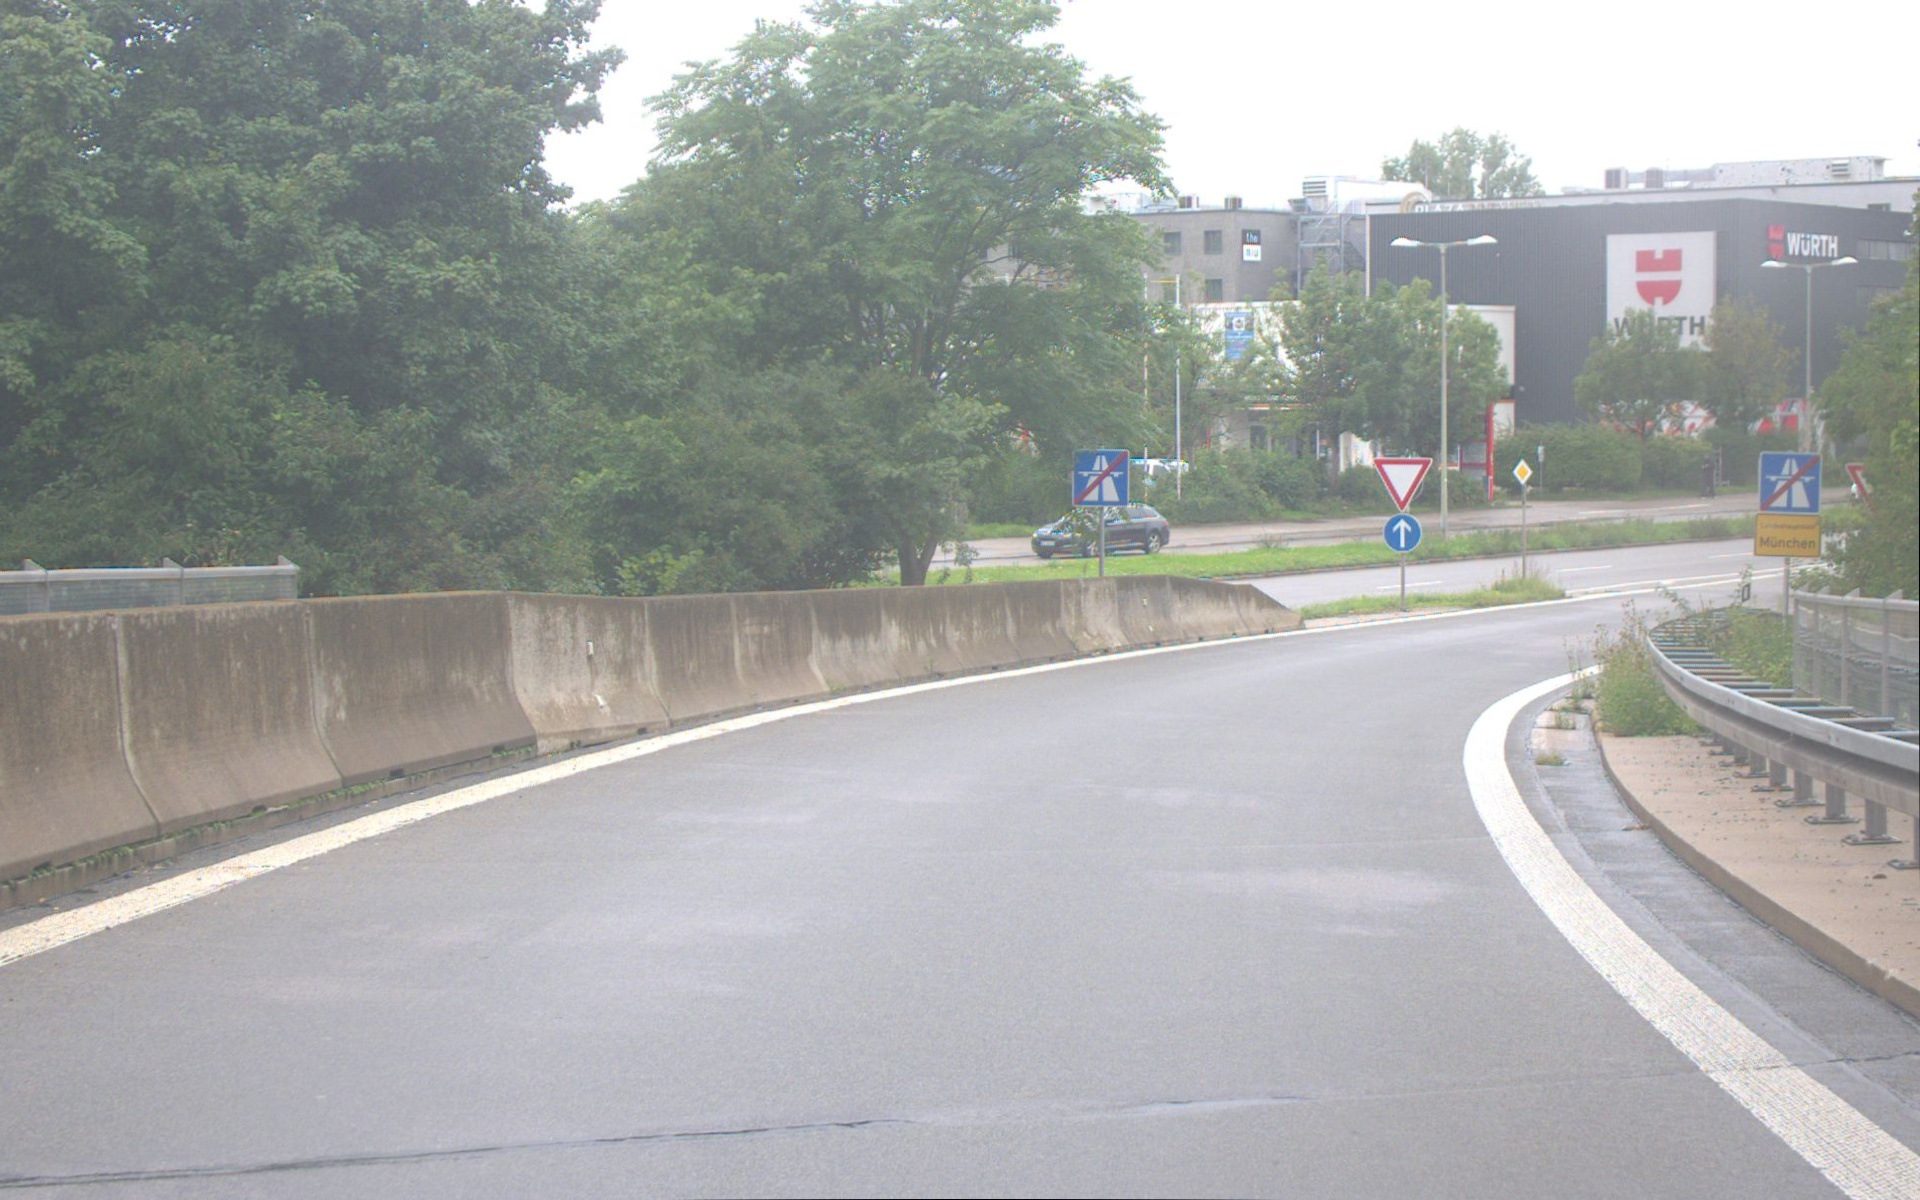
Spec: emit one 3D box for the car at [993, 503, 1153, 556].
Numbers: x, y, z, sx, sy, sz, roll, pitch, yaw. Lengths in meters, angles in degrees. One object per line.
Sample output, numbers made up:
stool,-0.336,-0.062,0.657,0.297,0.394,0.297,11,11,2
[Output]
car,3.221,-1.997,96.718,1.973,1.392,4.806,1,3,39
